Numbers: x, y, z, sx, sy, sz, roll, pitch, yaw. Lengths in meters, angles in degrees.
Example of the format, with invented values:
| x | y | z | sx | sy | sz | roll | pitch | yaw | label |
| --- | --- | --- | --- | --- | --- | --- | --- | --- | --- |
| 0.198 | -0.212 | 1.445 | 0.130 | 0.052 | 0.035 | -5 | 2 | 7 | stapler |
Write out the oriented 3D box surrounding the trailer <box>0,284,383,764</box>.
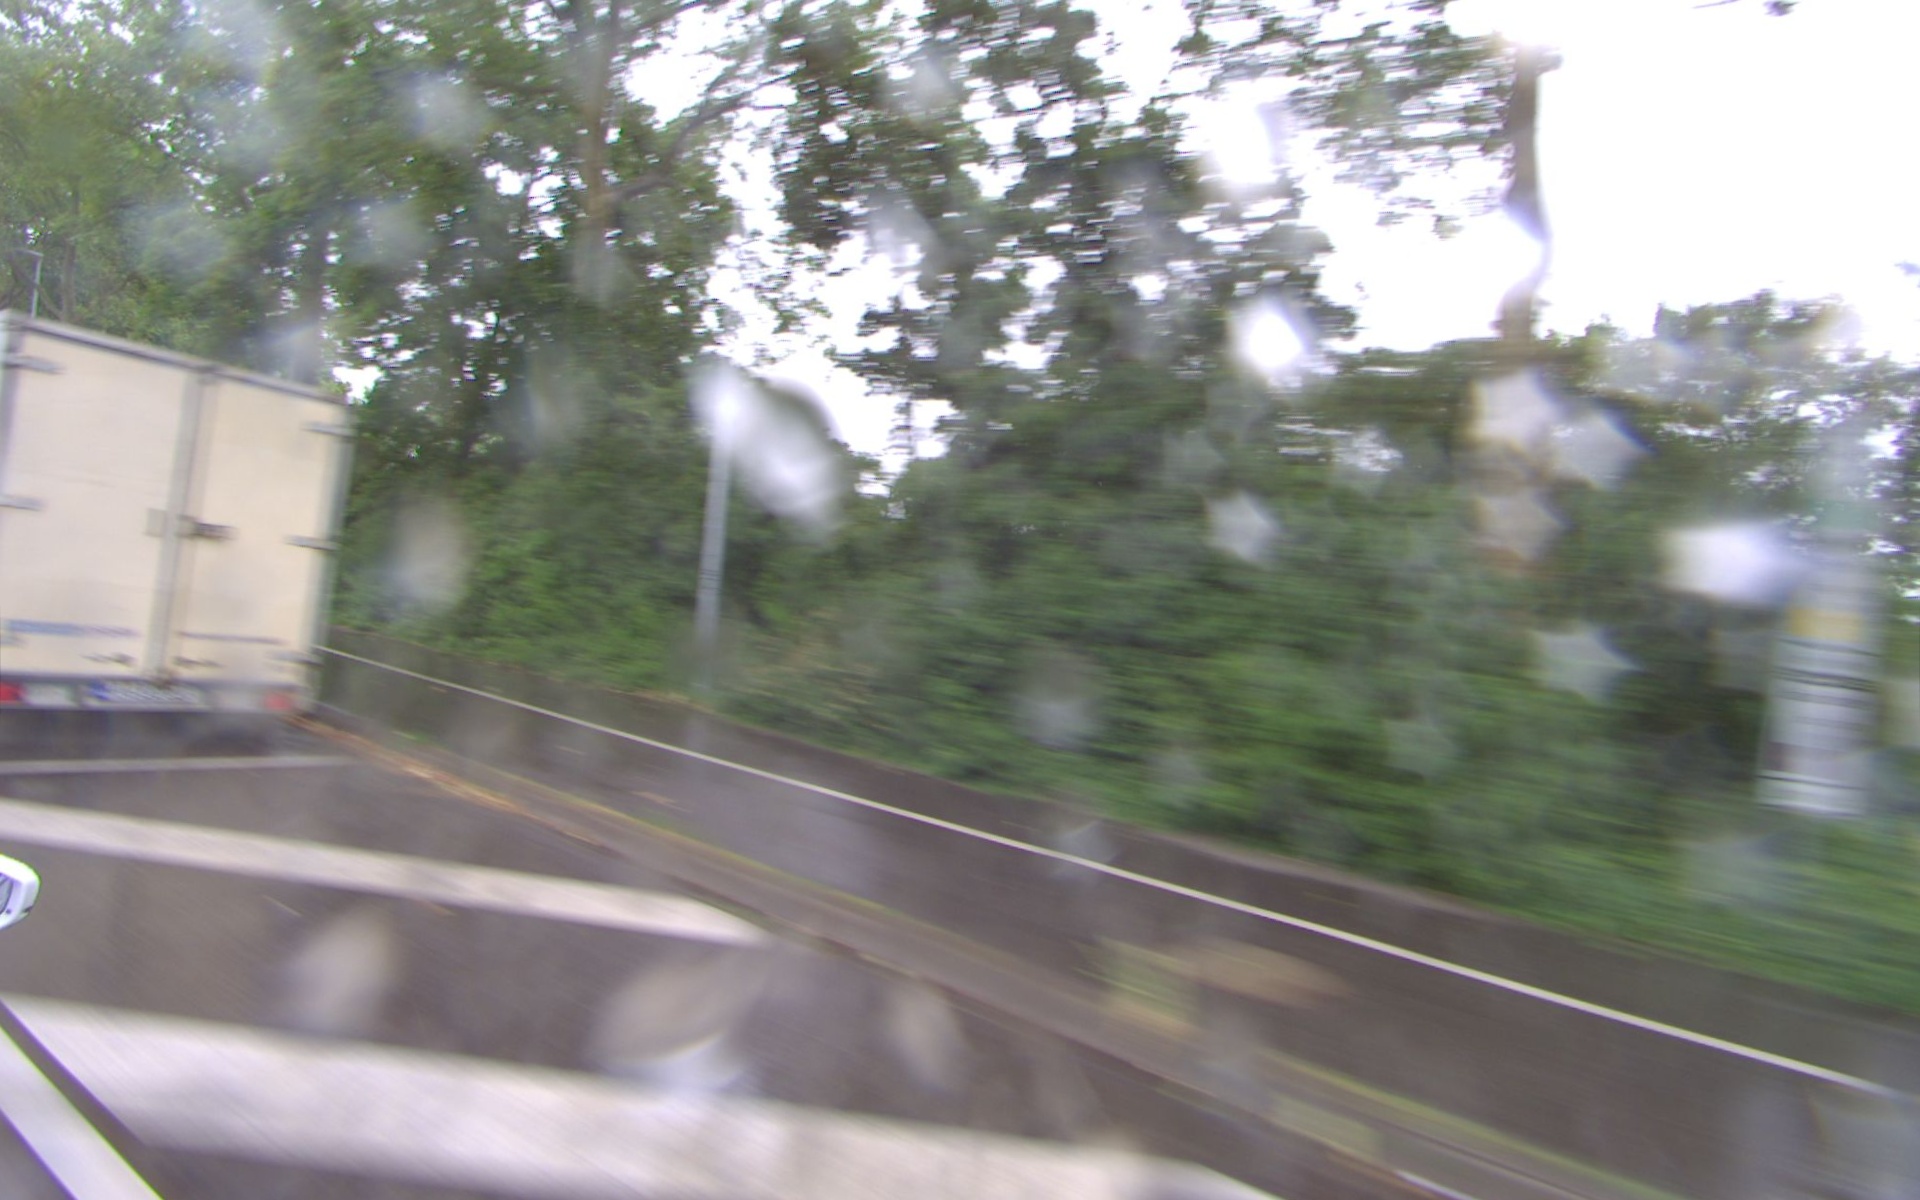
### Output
| x | y | z | sx | sy | sz | roll | pitch | yaw | label |
| --- | --- | --- | --- | --- | --- | --- | --- | --- | --- |
| -7.241 | -0.539 | 8.342 | 5.594 | 2.790 | 2.165 | 6 | -2 | 39 | trailer |
